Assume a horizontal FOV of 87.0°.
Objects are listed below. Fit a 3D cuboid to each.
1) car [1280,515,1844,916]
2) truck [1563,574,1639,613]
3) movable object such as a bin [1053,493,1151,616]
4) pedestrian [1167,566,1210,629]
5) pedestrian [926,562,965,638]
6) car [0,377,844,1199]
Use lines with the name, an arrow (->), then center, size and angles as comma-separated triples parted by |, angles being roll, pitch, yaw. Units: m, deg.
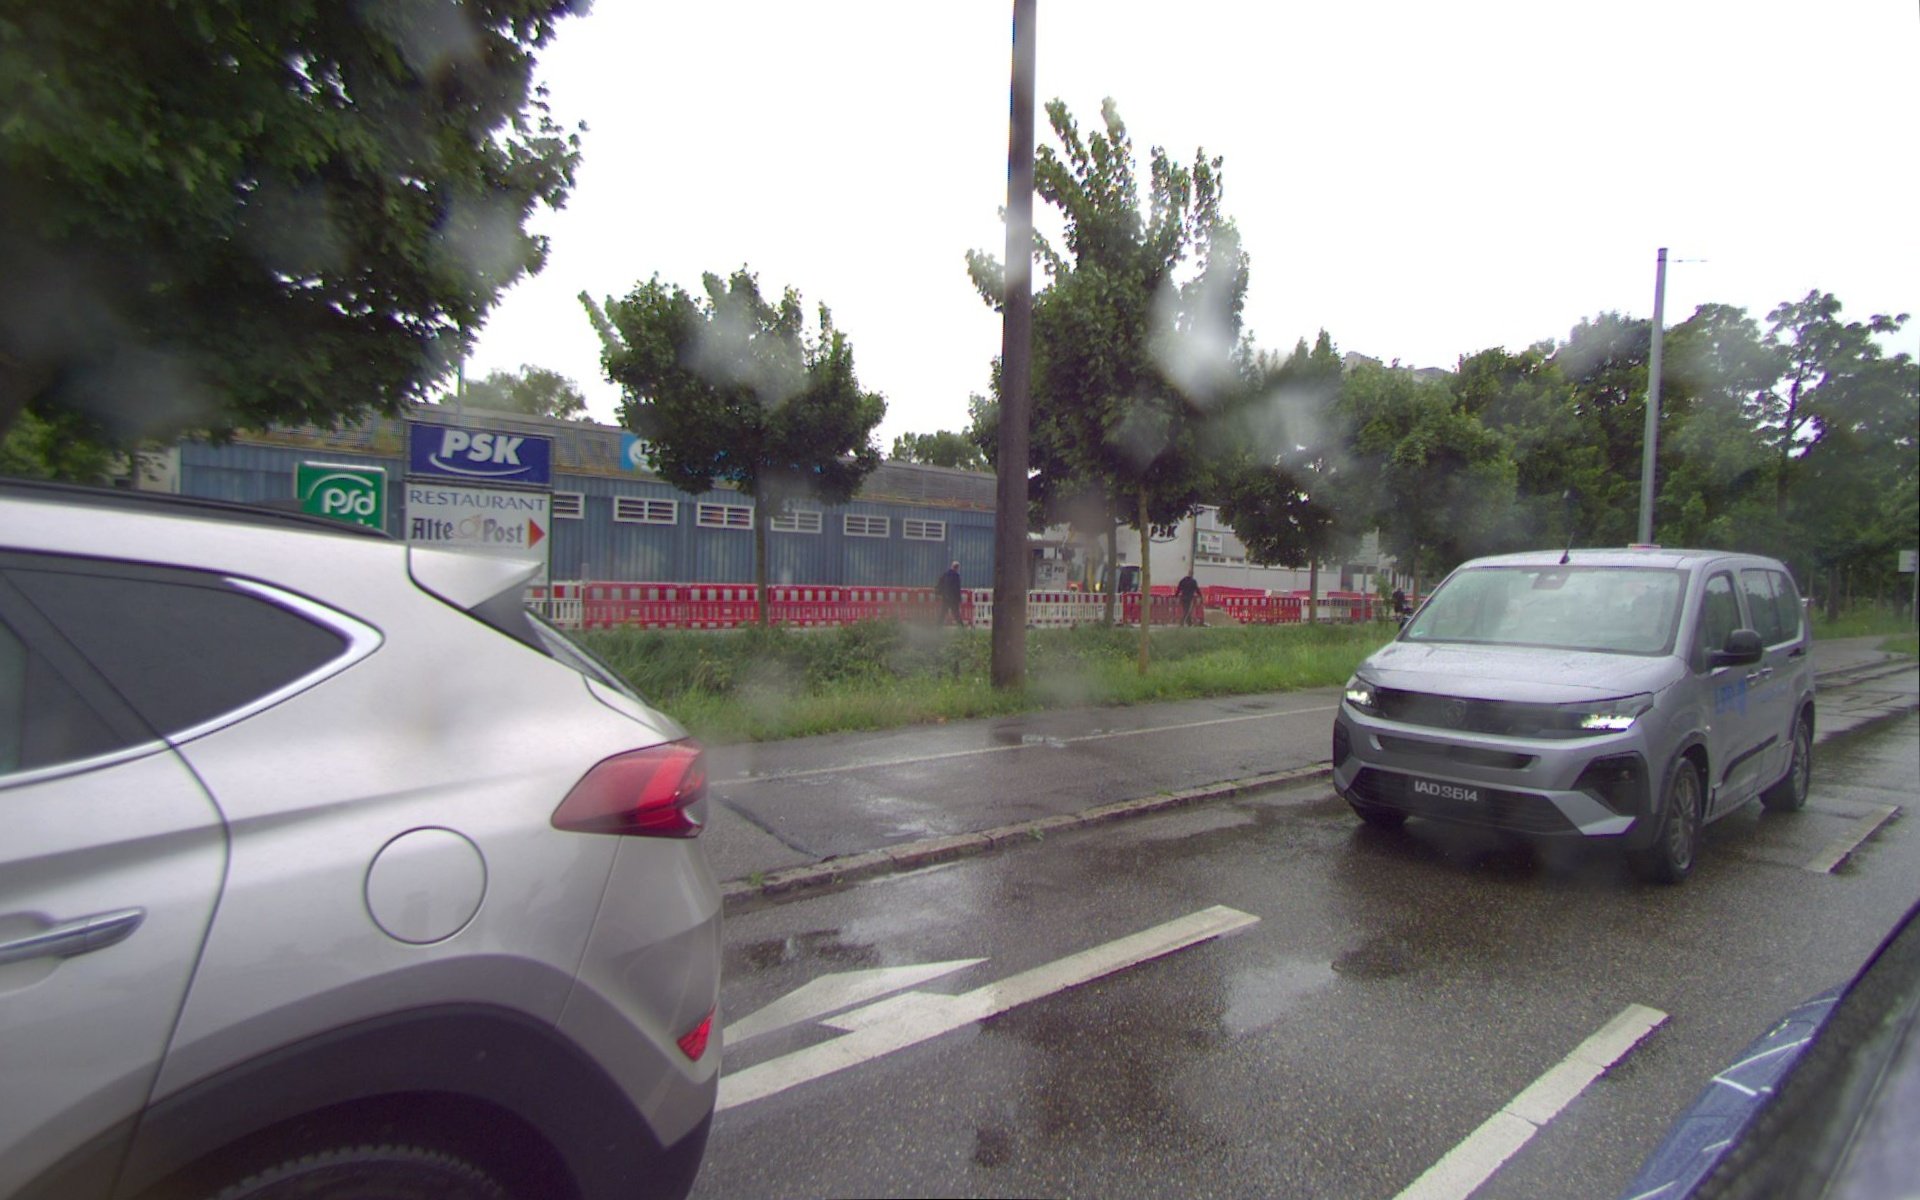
car -> 4.266, 0.506, 6.833 | 4.483, 1.818, 1.997 | 0, 1, -41
truck -> 50.657, -0.555, 79.816 | 8.599, 2.935, 2.808 | 0, 0, -42
movable object such as a bin -> 5.481, -1.681, 38.907 | 3.839, 4.482, 1.557 | 0, 0, -39
pedestrian -> 7.345, -0.089, 32.514 | 1.192, 1.960, 0.814 | 0, 0, -42
pedestrian -> -0.373, -0.014, 26.092 | 0.861, 1.920, 0.580 | 0, 0, -41
car -> -2.384, 0.566, 1.248 | 4.121, 1.630, 1.888 | -1, 1, -40
